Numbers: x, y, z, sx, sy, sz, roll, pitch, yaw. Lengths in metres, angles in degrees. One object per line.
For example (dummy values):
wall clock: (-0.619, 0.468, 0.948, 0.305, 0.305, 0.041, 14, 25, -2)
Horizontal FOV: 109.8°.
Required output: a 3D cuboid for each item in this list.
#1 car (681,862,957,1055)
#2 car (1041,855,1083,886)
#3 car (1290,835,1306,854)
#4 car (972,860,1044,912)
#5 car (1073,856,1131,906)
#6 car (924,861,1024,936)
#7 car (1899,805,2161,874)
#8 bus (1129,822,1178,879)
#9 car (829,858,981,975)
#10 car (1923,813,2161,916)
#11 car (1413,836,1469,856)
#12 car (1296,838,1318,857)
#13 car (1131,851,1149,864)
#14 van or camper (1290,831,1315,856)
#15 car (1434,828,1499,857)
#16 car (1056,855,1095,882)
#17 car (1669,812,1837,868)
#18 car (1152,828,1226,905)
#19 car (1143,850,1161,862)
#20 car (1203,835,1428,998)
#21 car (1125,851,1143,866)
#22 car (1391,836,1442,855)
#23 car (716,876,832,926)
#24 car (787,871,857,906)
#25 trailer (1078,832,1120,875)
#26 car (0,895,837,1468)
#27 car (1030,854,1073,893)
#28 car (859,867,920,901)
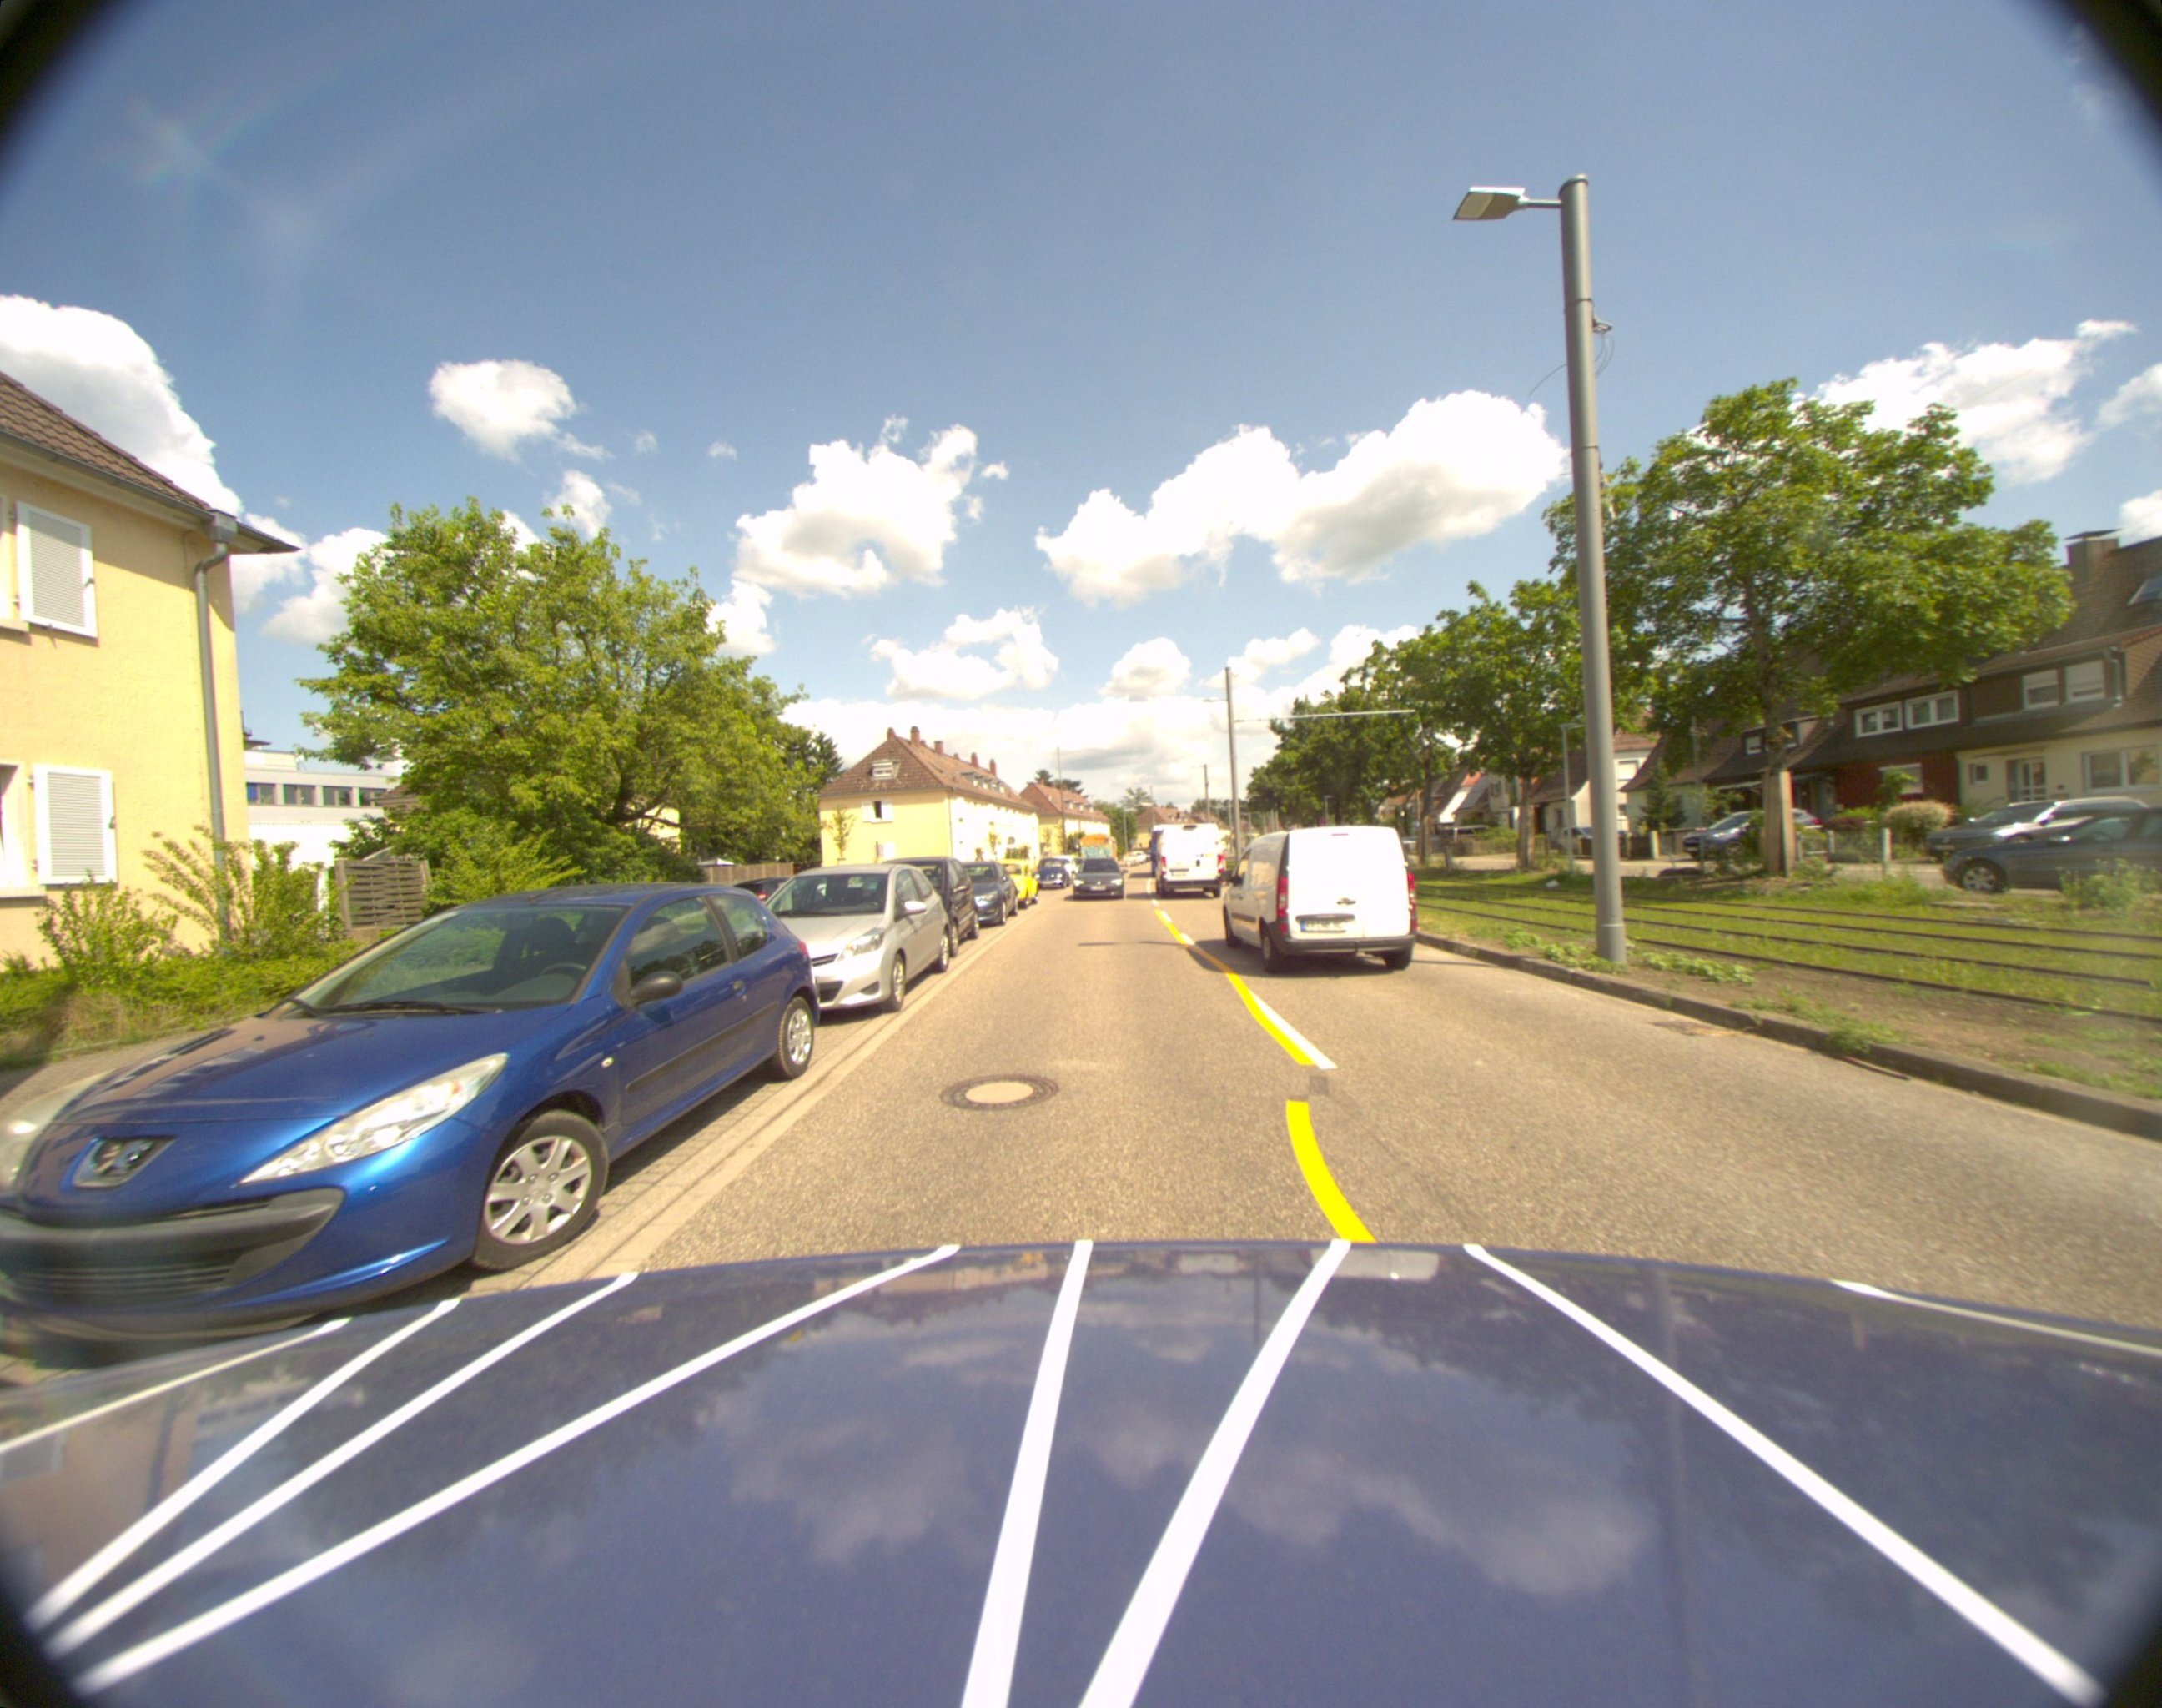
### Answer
car: (-2.674, 0.962, 8.801, 1.640, 1.593, 4.029, -3, 0, 1)
car: (-0.978, 0.857, 41.229, 1.580, 1.504, 4.461, -3, 0, 7)
car: (32.640, -1.434, 114.173, 2.156, 2.653, 4.921, -3, 1, 15)
car: (-2.161, 0.935, 23.567, 1.640, 1.473, 3.932, 0, 0, 3)
car: (0.834, 0.878, 26.901, 1.742, 1.513, 4.702, -1, 1, 5)
car: (-2.420, 0.964, 18.117, 1.640, 1.473, 4.124, -3, 0, 1)
car: (25.269, -0.377, 20.372, 4.481, 1.515, 1.926, -3, 0, 2)
bus: (4.788, -0.210, 52.222, 2.642, 3.392, 12.250, -1, 0, 3)
car: (-2.791, 0.913, 12.936, 1.640, 1.593, 3.931, -3, 0, -1)
car: (15.952, 0.110, 11.191, 1.824, 1.398, 4.813, -3, 0, 2)
car: (30.438, -0.664, 64.305, 3.891, 1.448, 1.736, -3, 0, 7)
car: (26.151, -0.733, 88.113, 1.997, 2.002, 4.908, -3, 0, 13)
car: (7.072, 0.382, 90.178, 1.530, 1.472, 3.812, -2, 1, 13)
van or camper: (27.536, -1.322, 94.580, 2.379, 2.953, 7.302, -2, 0, 12)
car: (29.141, -0.851, 57.494, 3.897, 1.886, 1.941, -5, 1, -12)
car: (-0.293, 0.848, 46.284, 1.710, 1.441, 4.837, -3, 0, 7)
car: (25.602, -0.526, 29.069, 4.481, 1.825, 2.065, -3, 0, 2)
car: (3.812, 0.386, 27.775, 2.107, 2.429, 5.572, -3, 0, 3)
car: (9.462, 0.264, 101.253, 1.752, 1.489, 4.389, -2, 0, 13)
car: (3.008, 0.715, 10.788, 1.739, 1.763, 4.308, -3, 0, -1)
car: (5.879, 0.507, 84.018, 1.465, 1.493, 4.112, -2, 1, 11)
car: (32.166, -0.804, 72.916, 3.995, 1.521, 1.875, -4, 0, 7)
car: (-10.144, 1.504, 25.453, 1.639, 1.347, 4.090, -3, 0, 10)
car: (-11.813, 1.547, 34.913, 1.640, 1.366, 4.088, -3, 0, 2)
trailer: (1.546, -0.034, 62.028, 2.695, 3.208, 5.084, -3, 0, 8)
car: (-2.765, 1.084, 4.113, 1.540, 1.437, 3.737, -3, 0, 1)
car: (-1.347, 0.868, 36.096, 1.552, 1.631, 4.247, -3, 0, 4)
car: (-9.010, 1.391, 36.071, 1.640, 1.366, 4.088, -3, 0, 2)
